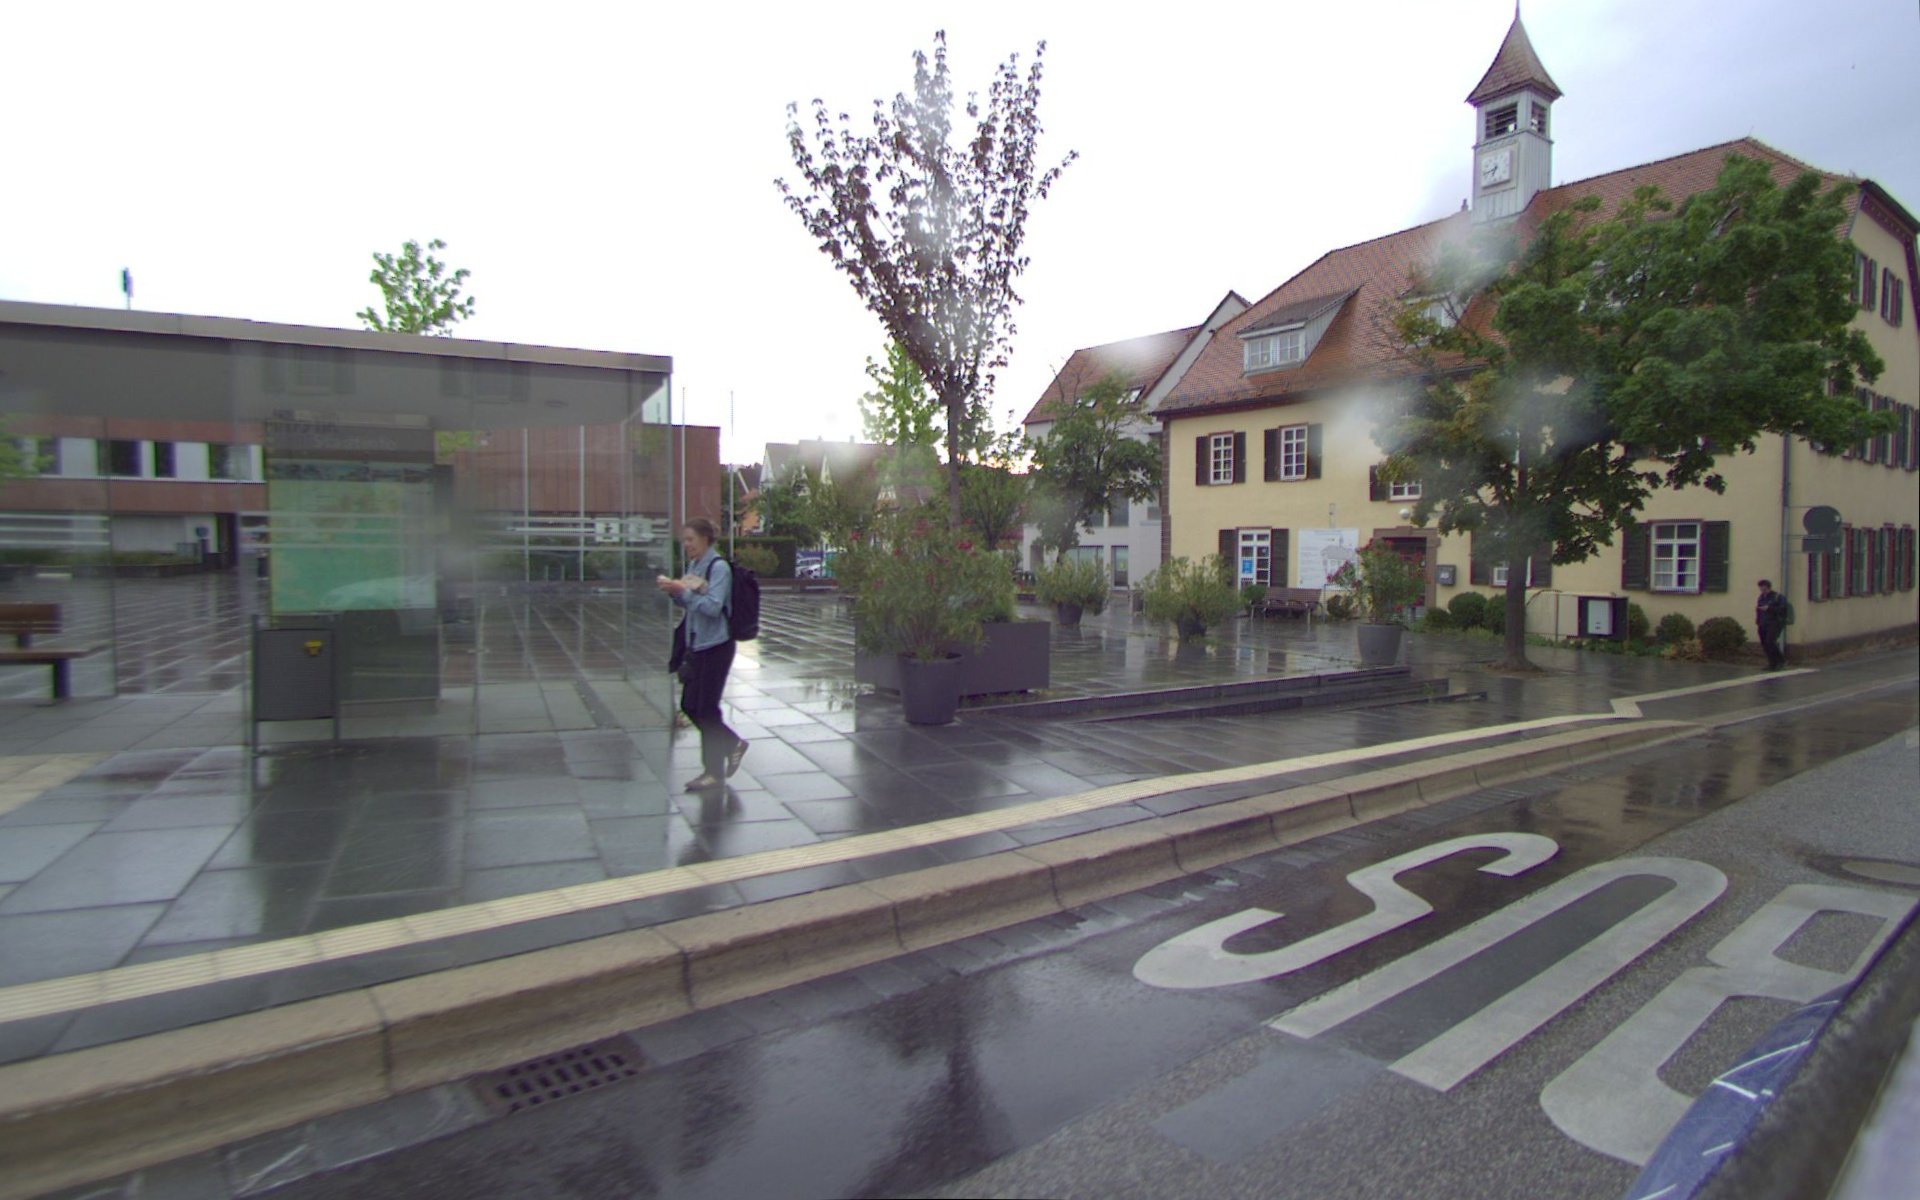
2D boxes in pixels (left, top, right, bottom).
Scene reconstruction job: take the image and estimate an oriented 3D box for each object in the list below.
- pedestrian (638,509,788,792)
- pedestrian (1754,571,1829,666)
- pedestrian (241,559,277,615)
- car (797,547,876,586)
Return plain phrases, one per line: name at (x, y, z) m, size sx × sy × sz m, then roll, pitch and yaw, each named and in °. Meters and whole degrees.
pedestrian at (-1.550, 0.270, 6.317) m, size 0.680 × 1.636 × 0.731 m, roll 0°, pitch 3°, yaw -35°
pedestrian at (15.617, 0.330, 19.029) m, size 0.859 × 1.714 × 0.710 m, roll 2°, pitch 2°, yaw 26°
pedestrian at (-26.395, -0.497, 38.094) m, size 0.720 × 2.038 × 0.860 m, roll 2°, pitch 2°, yaw 10°
car at (-7.475, -2.015, 61.061) m, size 4.287 × 2.244 × 2.004 m, roll 0°, pitch 3°, yaw -26°
